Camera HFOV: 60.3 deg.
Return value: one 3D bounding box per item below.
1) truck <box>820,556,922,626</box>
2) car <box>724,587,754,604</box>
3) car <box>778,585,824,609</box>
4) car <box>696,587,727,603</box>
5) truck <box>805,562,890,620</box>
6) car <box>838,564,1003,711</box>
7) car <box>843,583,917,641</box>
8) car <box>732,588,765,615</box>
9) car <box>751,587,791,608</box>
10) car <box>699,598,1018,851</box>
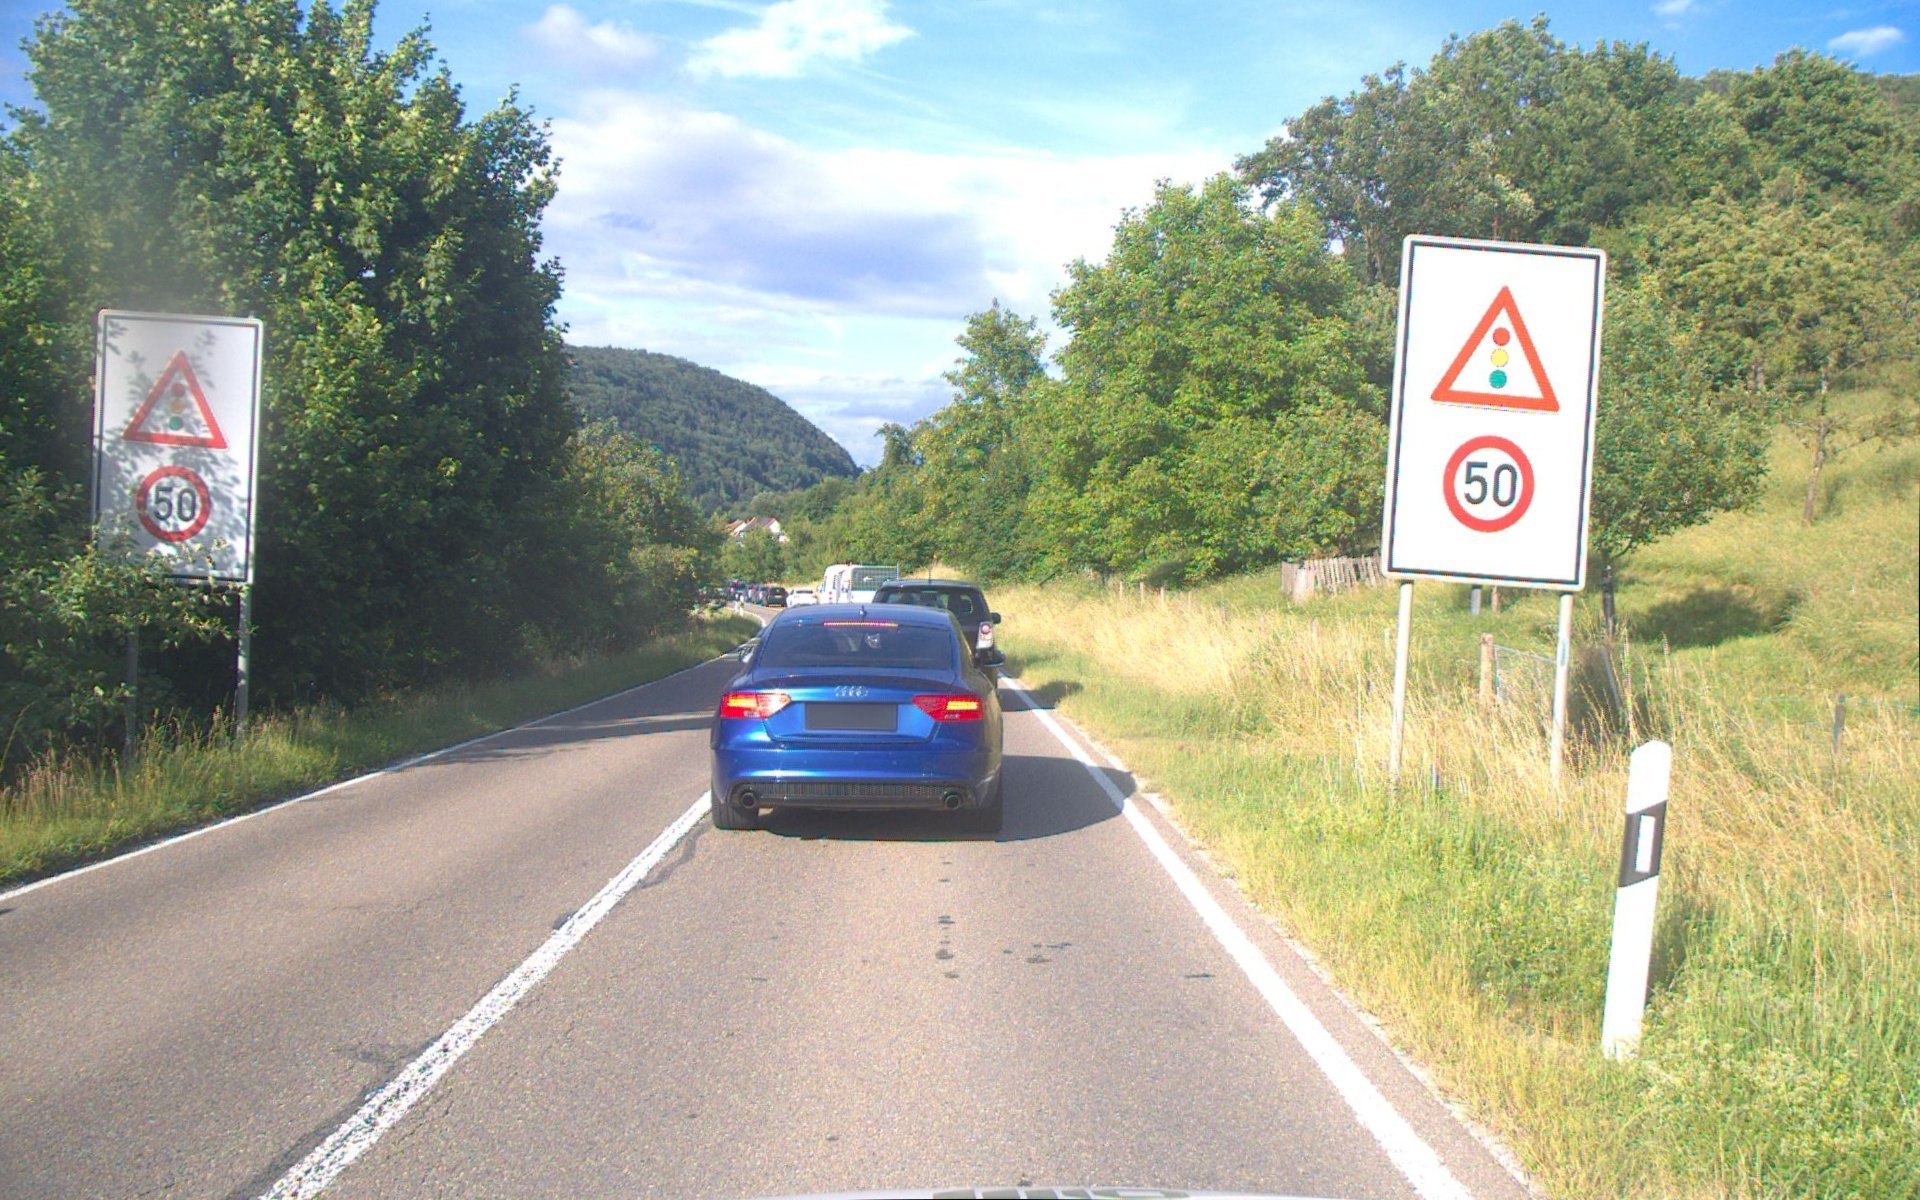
[{"bbox_3d":[-3.967,-0.383,71.007,2.814,2.712,10.362,1,0,-12],"label":"truck"},{"bbox_3d":[-19.508,-0.401,145.667,1.962,1.508,3.980,1,0,-18],"label":"car"},{"bbox_3d":[-10.510,-0.183,109.187,1.965,1.508,3.974,1,0,-22],"label":"car"},{"bbox_3d":[-23.721,-0.452,157.963,1.967,1.508,3.971,1,0,-24],"label":"car"},{"bbox_3d":[-5.855,-0.446,84.202,2.814,2.712,10.613,1,0,-12],"label":"truck"},{"bbox_3d":[-0.525,0.462,21.922,1.953,1.732,3.999,1,0,-2],"label":"car"},{"bbox_3d":[-2.202,0.326,46.548,1.953,1.508,3.999,1,0,-2],"label":"car"},{"bbox_3d":[-16.795,0.121,131.413,1.962,2.049,3.981,1,0,-17],"label":"car"},{"bbox_3d":[-13.875,-0.166,121.257,1.965,1.508,3.974,1,0,-22],"label":"car"},{"bbox_3d":[-0.578,0.703,11.230,1.757,1.383,3.999,1,0,-1],"label":"car"}]
